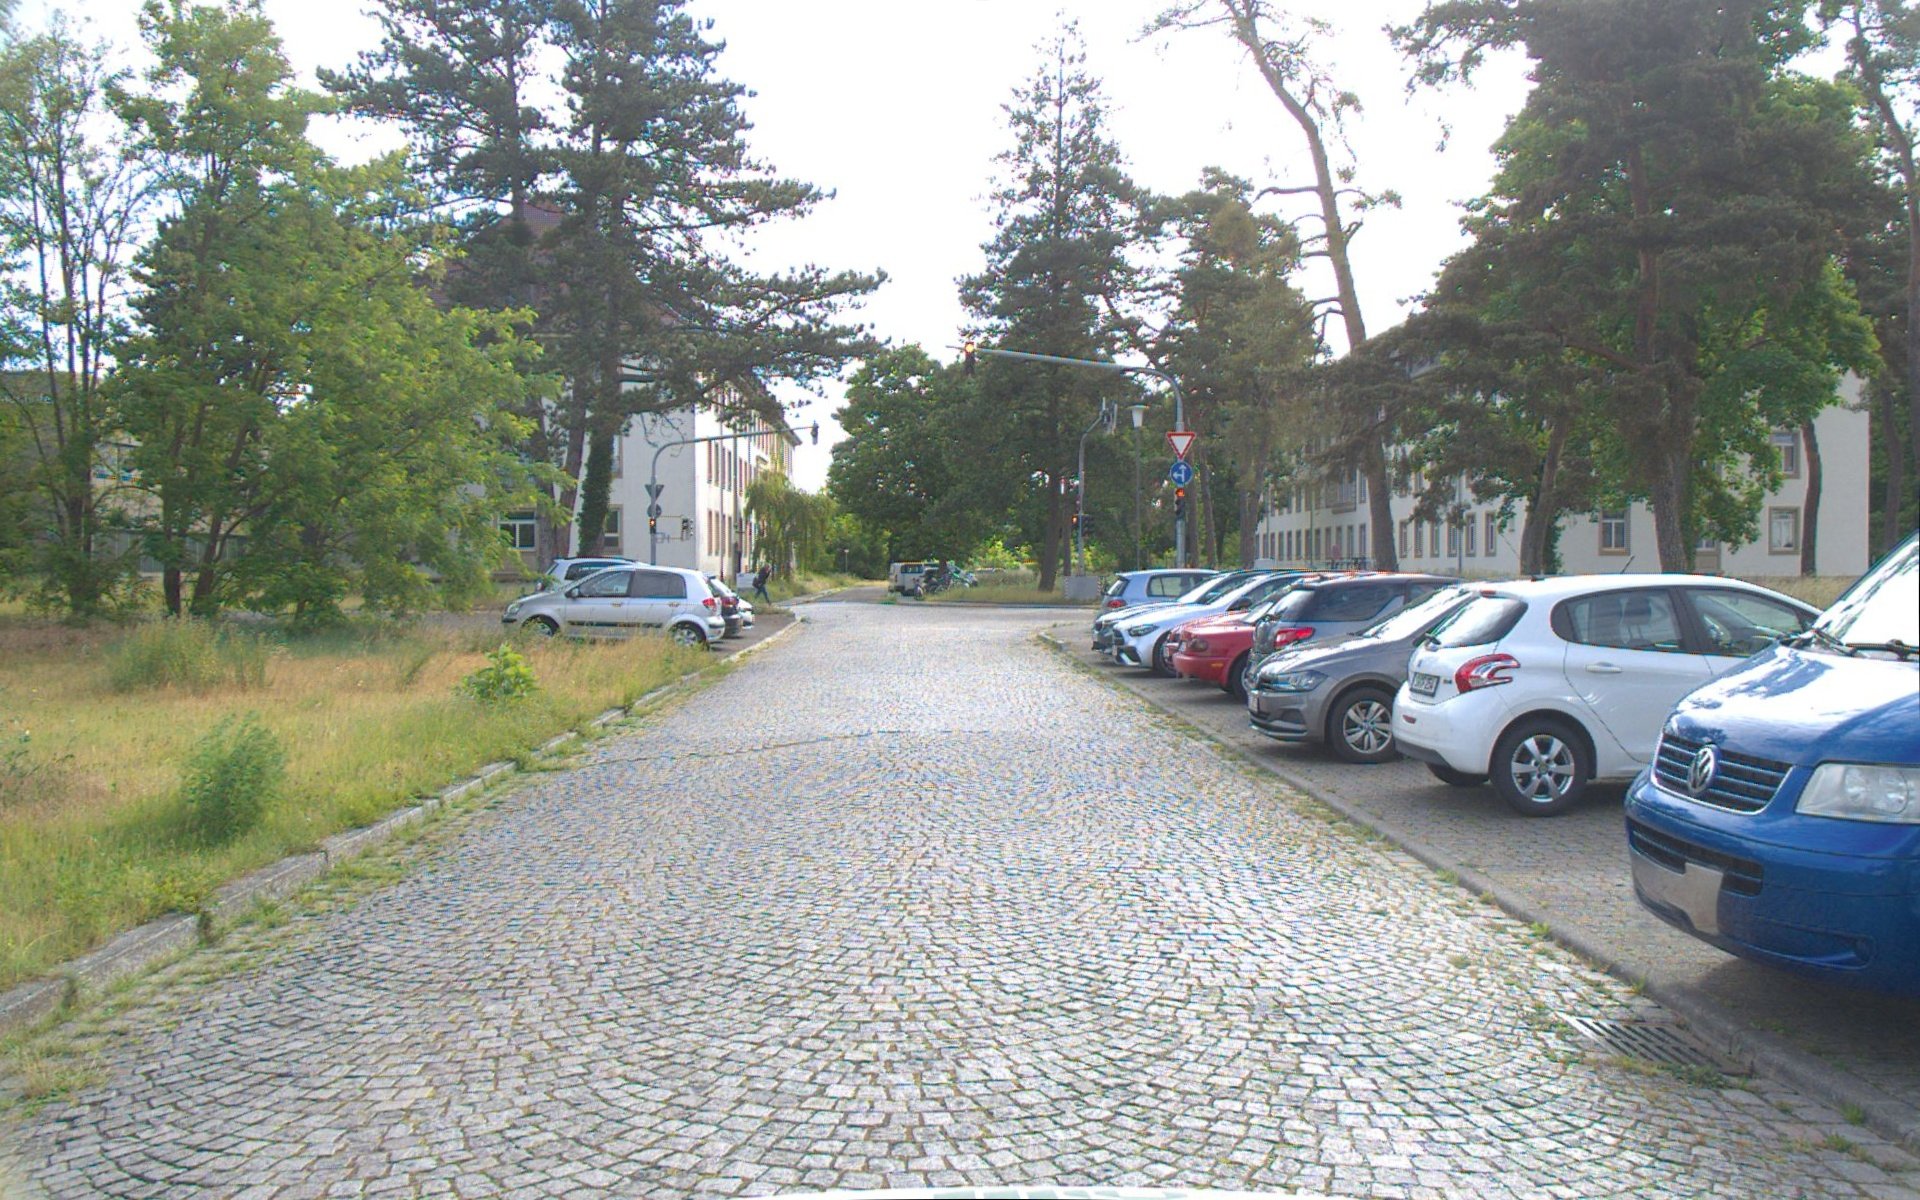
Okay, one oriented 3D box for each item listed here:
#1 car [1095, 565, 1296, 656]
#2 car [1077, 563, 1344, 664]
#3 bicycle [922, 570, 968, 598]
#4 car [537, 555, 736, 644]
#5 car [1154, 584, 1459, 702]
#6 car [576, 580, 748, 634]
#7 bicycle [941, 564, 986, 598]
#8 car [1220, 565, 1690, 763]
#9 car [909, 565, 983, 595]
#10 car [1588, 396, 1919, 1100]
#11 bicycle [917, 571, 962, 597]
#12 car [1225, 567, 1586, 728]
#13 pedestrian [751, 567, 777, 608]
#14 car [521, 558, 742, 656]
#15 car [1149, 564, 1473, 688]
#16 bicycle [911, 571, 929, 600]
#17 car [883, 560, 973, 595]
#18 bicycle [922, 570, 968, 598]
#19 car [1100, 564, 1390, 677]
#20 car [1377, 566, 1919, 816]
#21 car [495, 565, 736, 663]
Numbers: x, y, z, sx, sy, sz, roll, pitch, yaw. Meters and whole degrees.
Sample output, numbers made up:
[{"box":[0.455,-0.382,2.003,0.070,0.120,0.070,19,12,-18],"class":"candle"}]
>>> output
[{"box":[4.197,0.160,29.684,3.325,1.570,1.389,0,1,-8],"class":"car"},{"box":[4.060,0.193,27.107,4.045,1.570,1.661,0,1,-8],"class":"car"},{"box":[-0.725,-0.767,79.071,2.120,1.290,0.811,0,1,-9],"class":"bicycle"},{"box":[-6.592,-0.032,34.021,3.913,1.780,1.923,0,1,-9],"class":"car"},{"box":[4.098,0.481,19.813,3.230,1.289,1.661,0,1,-8],"class":"car"},{"box":[-6.457,0.133,36.154,3.602,1.113,1.643,0,1,-8],"class":"car"},{"box":[0.164,-0.934,79.815,2.120,1.644,0.811,0,1,-9],"class":"bicycle"},{"box":[4.194,0.479,14.220,3.535,1.533,1.659,-1,1,-13],"class":"car"},{"box":[-0.800,-1.136,93.031,3.912,1.673,1.997,0,1,-8],"class":"car"},{"box":[4.890,0.411,5.872,4.687,2.075,1.737,0,1,-3],"class":"car"},{"box":[-0.998,-0.779,80.275,2.120,1.290,0.811,0,1,-9],"class":"bicycle"},{"box":[4.561,0.437,17.114,3.235,1.530,1.659,-1,1,-13],"class":"car"},{"box":[-7.441,-0.473,62.774,0.880,1.524,0.904,0,1,-1],"class":"pedestrian"},{"box":[-6.062,0.090,30.959,3.912,1.735,1.997,0,1,-8],"class":"car"},{"box":[4.632,0.315,22.080,3.912,1.570,1.661,0,1,-8],"class":"car"},{"box":[-1.805,-0.654,74.681,0.793,1.290,1.973,0,1,-1],"class":"bicycle"},{"box":[-1.855,-1.313,96.266,4.962,2.049,1.994,0,1,-13],"class":"car"},{"box":[-0.701,-0.762,78.485,2.120,1.290,0.811,0,1,-9],"class":"bicycle"},{"box":[4.138,0.260,24.294,3.912,1.570,1.661,0,1,-8],"class":"car"},{"box":[4.666,0.548,11.219,3.227,1.531,1.663,0,1,-4],"class":"car"},{"box":[-5.833,0.205,28.479,3.912,1.579,1.997,0,1,-8],"class":"car"}]
